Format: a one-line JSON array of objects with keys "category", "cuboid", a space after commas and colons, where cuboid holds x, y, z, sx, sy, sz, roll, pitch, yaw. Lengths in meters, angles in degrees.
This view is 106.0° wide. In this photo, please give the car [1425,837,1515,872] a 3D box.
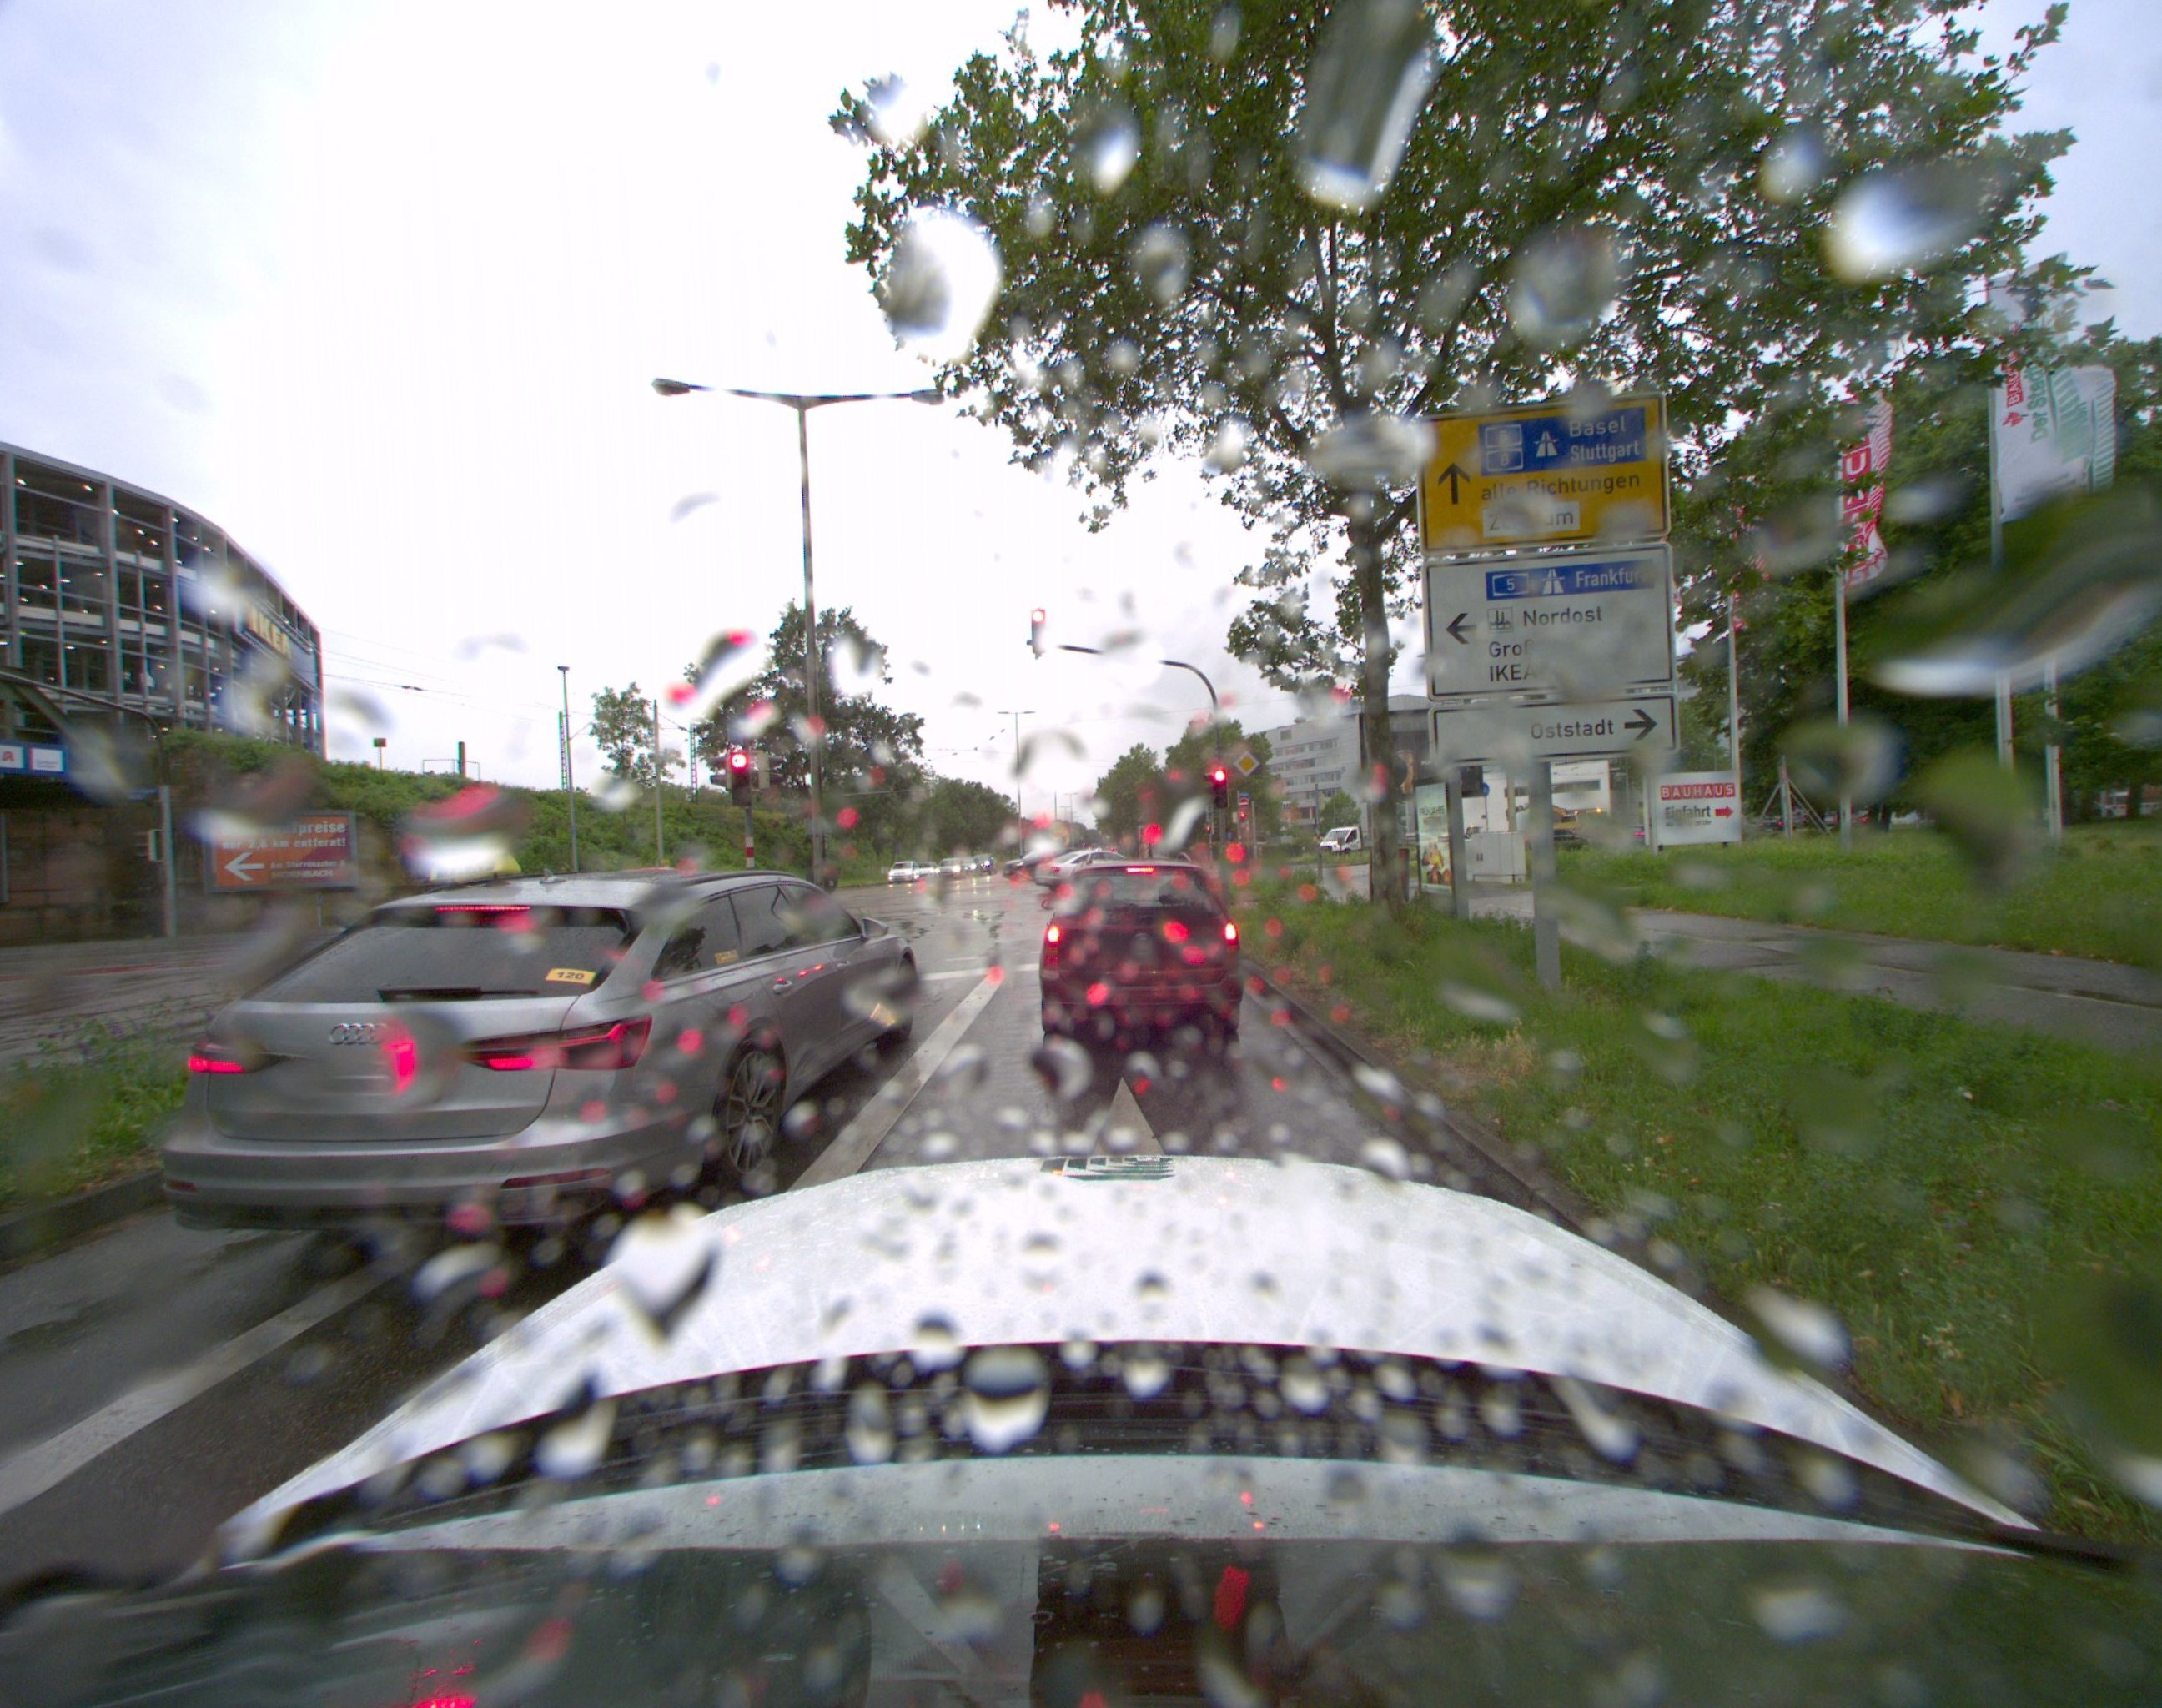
[{"category": "car", "cuboid": [19.487, 0.012, 40.770, 4.644, 1.586, 1.907, -2, -1, -34]}]

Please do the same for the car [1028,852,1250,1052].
[{"category": "car", "cuboid": [0.459, 0.720, 7.914, 1.636, 1.465, 3.733, 0, 0, 1]}]

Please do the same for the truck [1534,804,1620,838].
[{"category": "truck", "cuboid": [57.971, -3.826, 95.393, 3.342, 3.507, 7.806, -3, 0, -33]}]

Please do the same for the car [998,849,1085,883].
[{"category": "car", "cuboid": [-2.061, 0.639, 42.740, 4.264, 1.559, 1.728, -3, 0, -35]}]

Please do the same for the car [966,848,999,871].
[{"category": "car", "cuboid": [-8.636, 0.476, 71.850, 2.058, 1.819, 5.542, -3, 0, 1]}]

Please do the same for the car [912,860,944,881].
[{"category": "car", "cuboid": [-11.570, 1.227, 61.875, 1.585, 1.404, 3.823, -3, 0, 1]}]

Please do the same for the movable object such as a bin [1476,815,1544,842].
[{"category": "movable object such as a bin", "cuboid": [53.772, -3.174, 102.175, 3.342, 2.995, 6.650, -3, 0, -34]}]

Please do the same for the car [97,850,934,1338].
[{"category": "car", "cuboid": [-2.275, 0.768, 5.060, 1.763, 1.574, 4.822, 0, 0, 1]}]

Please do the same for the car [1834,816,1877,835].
[{"category": "car", "cuboid": [71.282, -2.587, 74.946, 4.645, 1.586, 1.907, -2, -1, -34]}]

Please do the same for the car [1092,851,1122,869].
[{"category": "car", "cuboid": [2.673, 0.663, 84.815, 1.997, 1.790, 3.979, 0, -1, -16]}]

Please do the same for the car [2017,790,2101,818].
[{"category": "car", "cuboid": [79.580, -4.028, 66.334, 1.775, 2.049, 4.231, -3, 1, -44]}]

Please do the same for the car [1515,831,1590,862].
[{"category": "car", "cuboid": [26.929, -0.452, 46.478, 4.645, 1.586, 1.906, -2, -1, -35]}]

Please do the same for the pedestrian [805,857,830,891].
[{"category": "pedestrian", "cuboid": [-14.944, 1.111, 46.207, 1.102, 1.847, 1.126, -3, 0, -10]}]

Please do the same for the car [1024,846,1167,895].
[{"category": "car", "cuboid": [0.556, 0.572, 29.610, 4.843, 1.491, 1.909, -2, 0, -29]}]

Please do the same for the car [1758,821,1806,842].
[{"category": "car", "cuboid": [59.048, -1.933, 68.584, 4.645, 1.586, 1.907, -2, -1, -34]}]

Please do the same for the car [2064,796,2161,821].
[{"category": "car", "cuboid": [88.542, -3.902, 69.325, 2.286, 1.731, 5.899, -3, 0, -33]}]

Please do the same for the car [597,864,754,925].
[{"category": "car", "cuboid": [-11.417, 1.091, 23.075, 3.826, 1.491, 1.663, -2, 0, -28]}]

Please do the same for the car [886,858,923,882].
[{"category": "car", "cuboid": [-11.972, 1.068, 55.555, 1.633, 1.452, 3.786, -3, 0, 0]}]

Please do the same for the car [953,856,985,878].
[{"category": "car", "cuboid": [-8.729, 0.997, 63.672, 1.756, 1.586, 4.813, -3, -1, 0]}]

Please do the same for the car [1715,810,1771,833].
[{"category": "car", "cuboid": [48.861, -2.409, 60.060, 4.645, 1.586, 1.907, -2, -1, -34]}]

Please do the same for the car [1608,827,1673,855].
[{"category": "car", "cuboid": [36.407, -0.861, 52.954, 4.645, 1.586, 1.907, -2, -1, -34]}]

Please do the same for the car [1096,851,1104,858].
[{"category": "car", "cuboid": [4.566, 0.088, 191.210, 1.691, 1.528, 3.849, -3, 0, 3]}]

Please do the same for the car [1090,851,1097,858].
[{"category": "car", "cuboid": [3.115, 0.168, 201.587, 1.691, 1.528, 3.849, -3, 0, 3]}]

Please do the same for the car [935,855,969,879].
[{"category": "car", "cuboid": [-8.912, 0.875, 56.529, 1.632, 1.473, 3.966, -3, 0, 1]}]

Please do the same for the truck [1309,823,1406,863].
[{"category": "truck", "cuboid": [18.504, -0.753, 54.267, 6.897, 2.365, 2.455, -3, 0, -35]}]
